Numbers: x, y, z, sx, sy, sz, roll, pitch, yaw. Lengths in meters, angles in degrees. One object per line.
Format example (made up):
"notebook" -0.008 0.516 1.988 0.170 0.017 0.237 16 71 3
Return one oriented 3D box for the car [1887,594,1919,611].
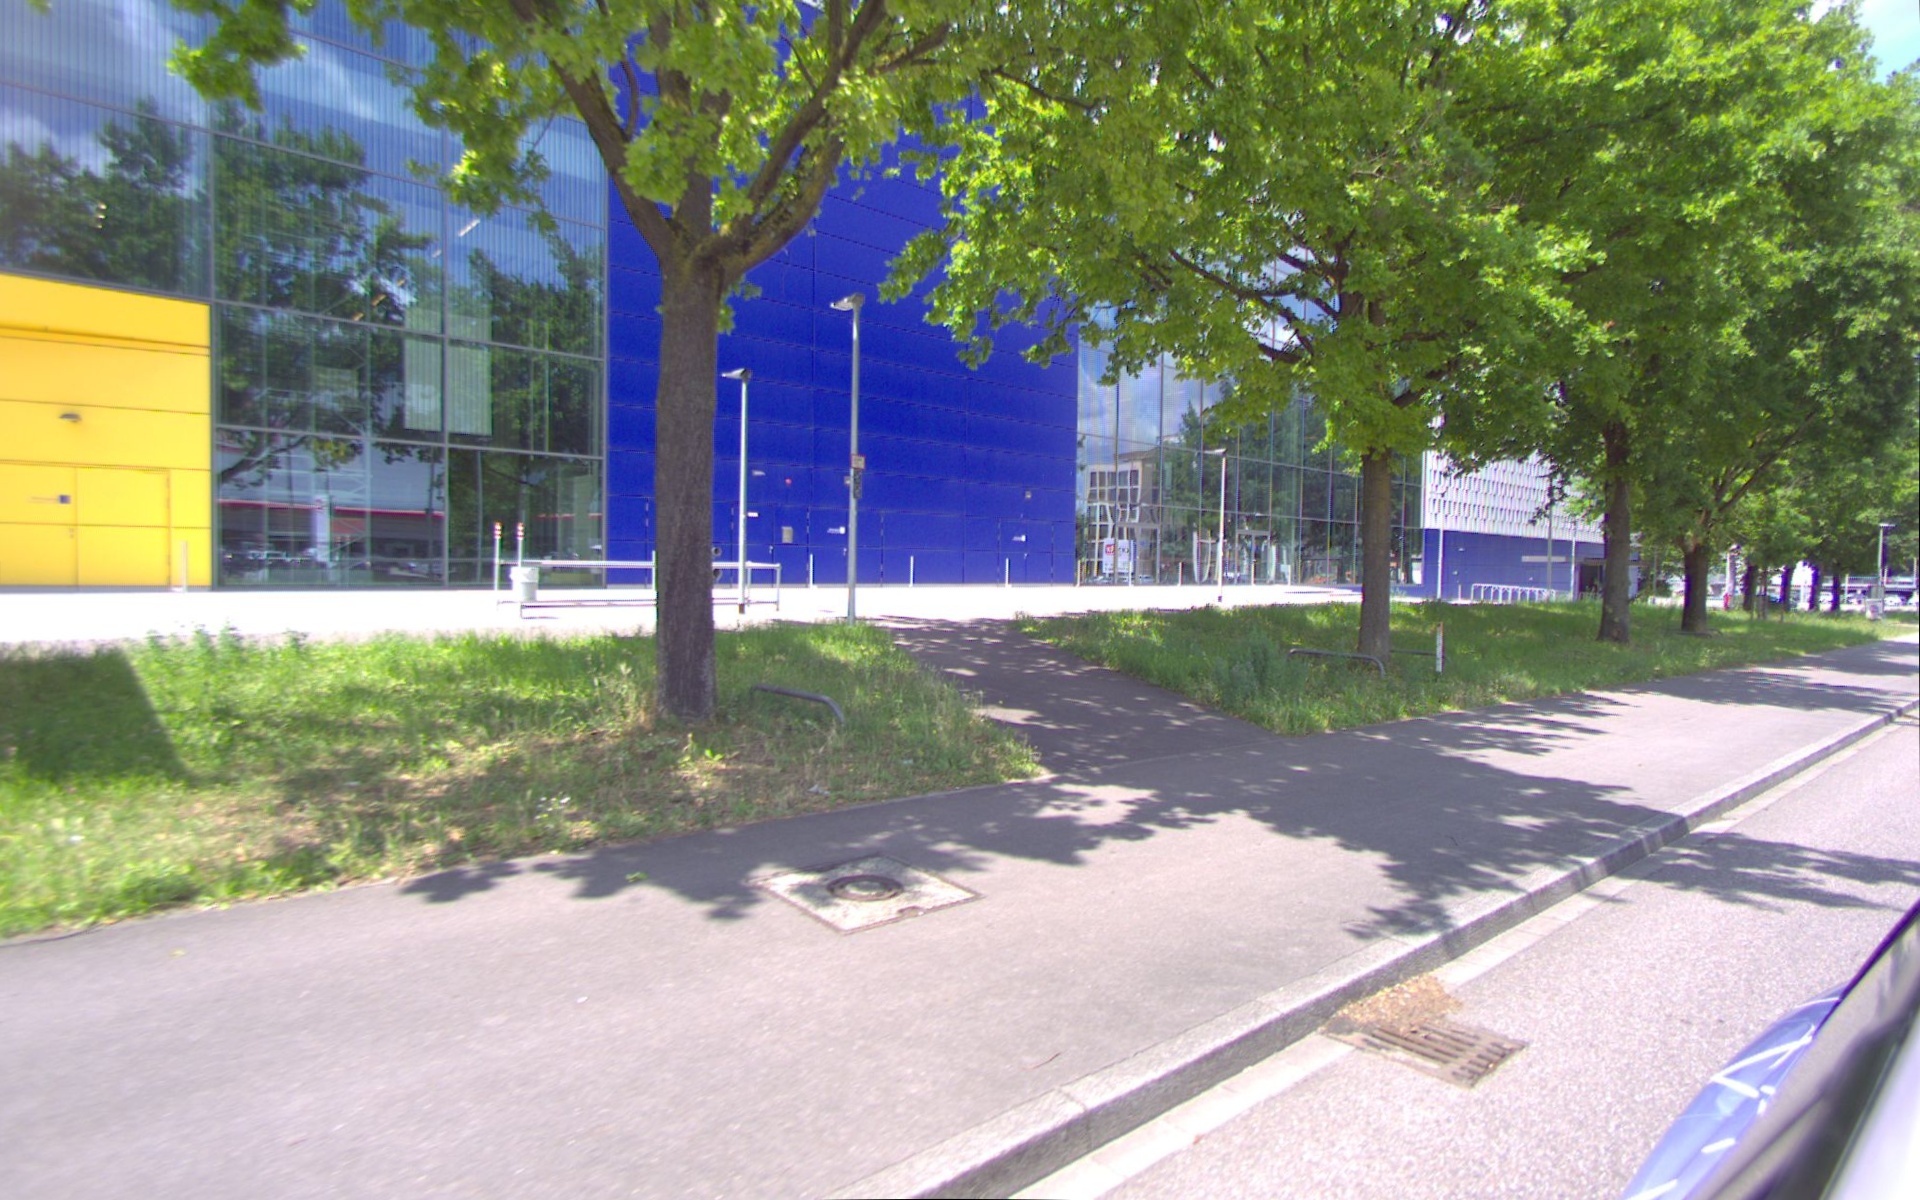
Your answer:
"car" 99.681 0.276 106.766 3.922 1.593 1.844 1 2 -34
